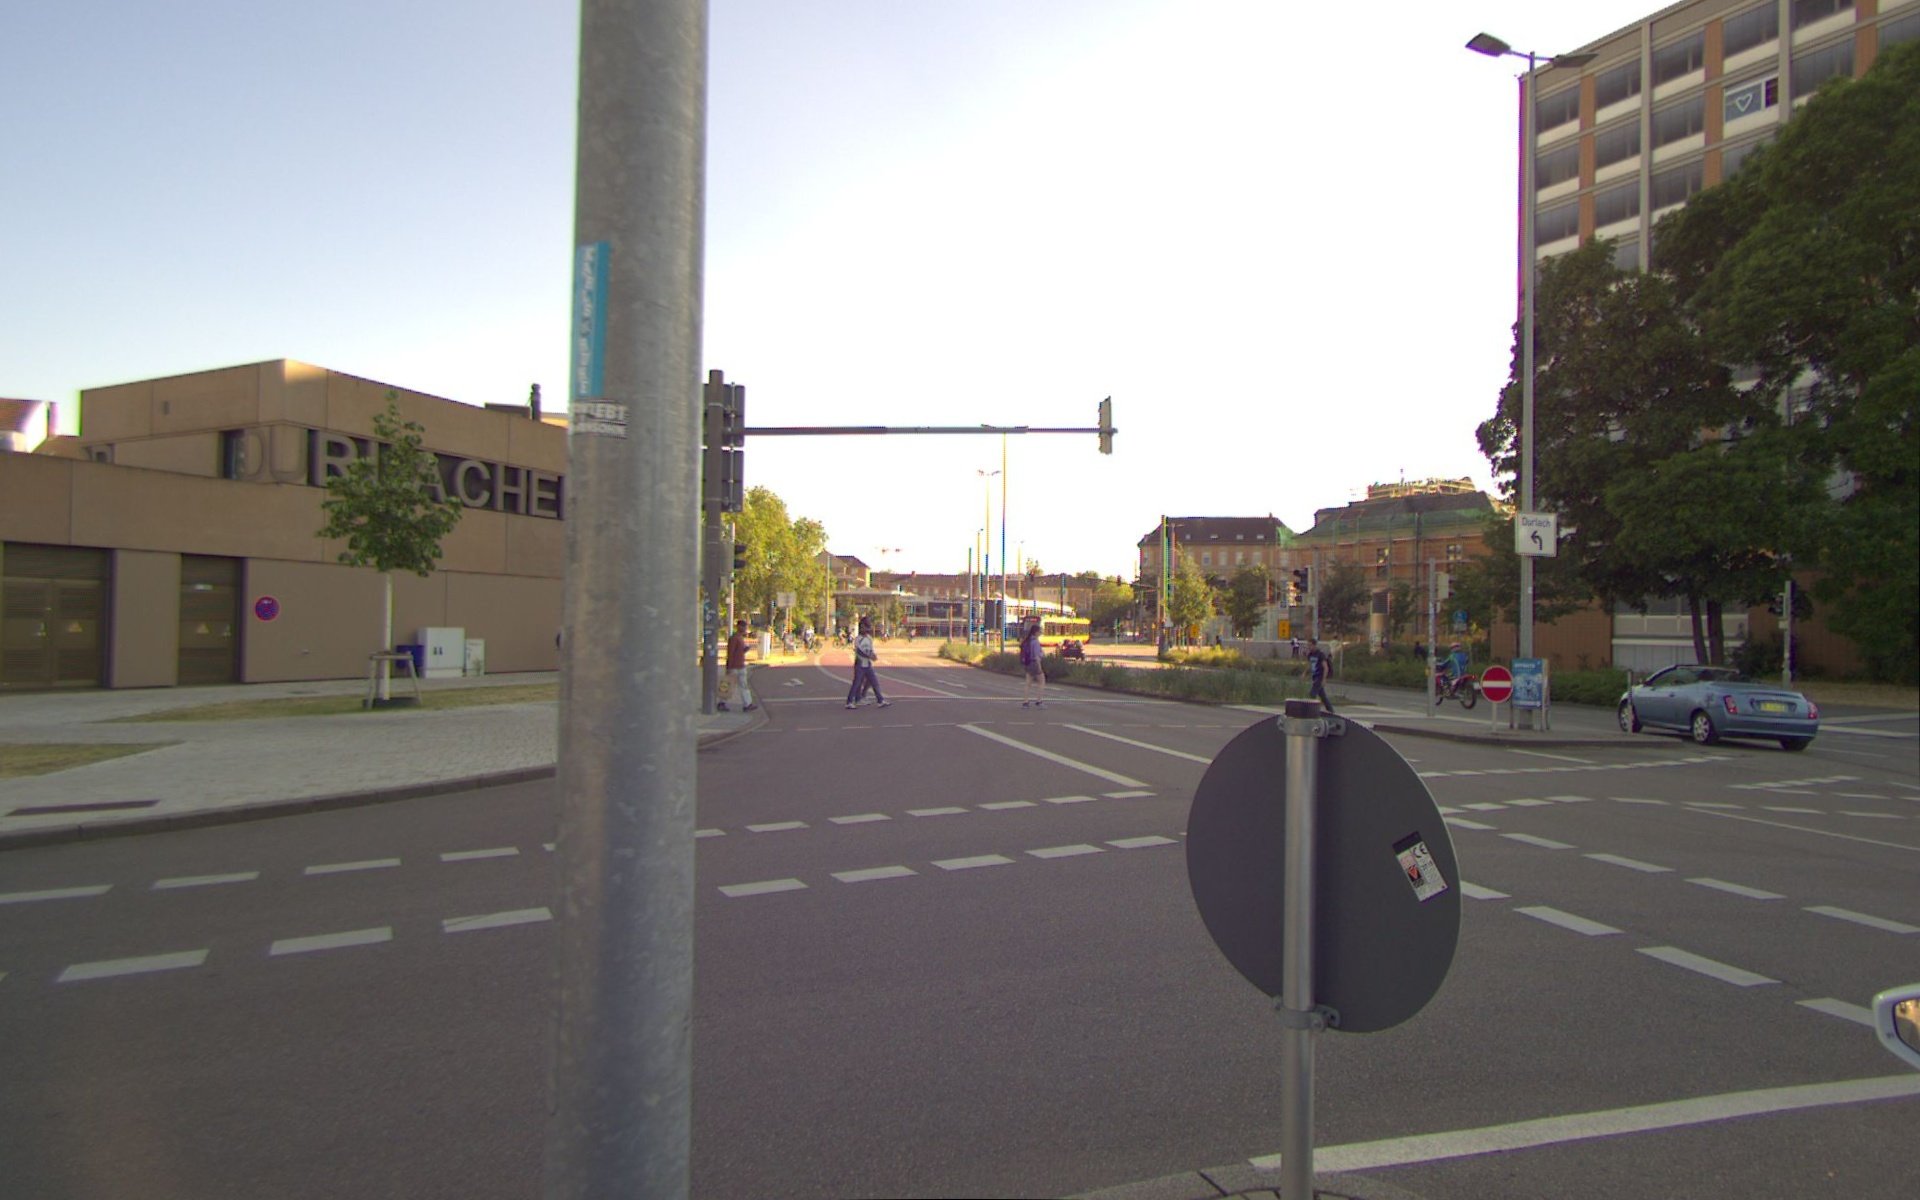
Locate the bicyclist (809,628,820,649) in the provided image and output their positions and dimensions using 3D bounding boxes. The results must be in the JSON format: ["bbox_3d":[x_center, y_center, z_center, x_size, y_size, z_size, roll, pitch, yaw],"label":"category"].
[{"bbox_3d":[-11.949,3.155,82.447,0.641,1.713,0.856,2,0,-20],"label":"bicyclist"}]

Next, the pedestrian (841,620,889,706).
[{"bbox_3d":[-2.020,1.321,21.203,0.911,1.764,0.755,1,-1,-12],"label":"pedestrian"}]

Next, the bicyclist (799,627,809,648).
[{"bbox_3d":[-13.228,3.192,84.993,0.641,1.713,0.856,2,0,-19],"label":"bicyclist"}]

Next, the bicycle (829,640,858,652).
[{"bbox_3d":[-9.795,3.859,84.379,2.266,0.918,0.857,2,0,-17],"label":"bicycle"}]

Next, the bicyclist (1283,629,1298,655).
[{"bbox_3d":[23.128,2.932,70.363,0.773,1.809,0.894,-1,-2,7],"label":"bicyclist"}]

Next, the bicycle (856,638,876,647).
[{"bbox_3d":[-11.174,4.998,119.103,2.263,0.972,0.858,0,1,-12],"label":"bicycle"}]

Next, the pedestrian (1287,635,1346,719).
[{"bbox_3d":[7.411,1.588,20.888,0.884,1.707,0.746,1,-1,-12],"label":"pedestrian"}]

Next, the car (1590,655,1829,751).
[{"bbox_3d":[13.847,1.837,18.882,1.770,1.463,3.981,2,-2,6],"label":"car"}]

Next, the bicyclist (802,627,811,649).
[{"bbox_3d":[-12.575,3.111,82.217,0.576,1.801,0.863,1,-2,-20],"label":"bicyclist"}]

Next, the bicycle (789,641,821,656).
[{"bbox_3d":[-13.122,4.127,85.040,2.463,1.148,0.856,2,0,-19],"label":"bicycle"}]

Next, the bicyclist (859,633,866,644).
[{"bbox_3d":[-11.582,4.546,119.024,0.702,1.158,0.835,1,1,-12],"label":"bicyclist"}]

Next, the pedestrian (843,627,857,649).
[{"bbox_3d":[-8.418,2.895,77.019,0.822,1.693,0.690,2,-2,-40],"label":"pedestrian"}]

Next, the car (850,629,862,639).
[{"bbox_3d":[-17.310,5.645,167.504,1.963,1.555,3.995,2,0,-7],"label":"car"}]

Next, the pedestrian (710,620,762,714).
[{"bbox_3d":[-4.305,1.275,19.353,0.911,1.764,0.786,1,-1,-12],"label":"pedestrian"}]

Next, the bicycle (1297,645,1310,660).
[{"bbox_3d":[24.124,3.666,70.514,0.616,1.052,1.962,-2,-3,24],"label":"bicycle"}]

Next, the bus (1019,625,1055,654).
[{"bbox_3d":[8.746,4.342,113.507,2.314,2.921,9.583,2,0,15],"label":"bus"}]

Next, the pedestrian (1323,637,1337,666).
[{"bbox_3d":[22.735,3.162,61.714,0.711,1.680,0.718,3,-1,18],"label":"pedestrian"}]

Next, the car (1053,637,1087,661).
[{"bbox_3d":[7.381,3.257,67.801,1.771,1.463,3.978,3,-2,-1],"label":"car"}]

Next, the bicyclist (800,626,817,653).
[{"bbox_3d":[-10.626,2.772,70.336,0.735,1.856,1.003,3,-3,-36],"label":"bicyclist"}]

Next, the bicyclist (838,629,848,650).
[{"bbox_3d":[-9.834,3.285,84.361,0.641,1.713,0.857,2,0,-16],"label":"bicyclist"}]

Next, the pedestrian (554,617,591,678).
[{"bbox_3d":[-11.388,1.380,29.520,0.722,1.754,0.664,2,0,23],"label":"pedestrian"}]

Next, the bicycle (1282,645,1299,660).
[{"bbox_3d":[23.148,3.685,70.386,0.776,1.052,1.964,-1,-3,7],"label":"bicycle"}]

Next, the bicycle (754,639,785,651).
[{"bbox_3d":[-15.847,3.769,83.706,2.459,0.886,0.857,2,0,-15],"label":"bicycle"}]

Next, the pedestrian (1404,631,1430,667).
[{"bbox_3d":[21.795,2.344,47.880,0.794,1.680,0.789,3,-1,-11],"label":"pedestrian"}]

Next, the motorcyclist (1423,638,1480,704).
[{"bbox_3d":[13.528,1.946,27.681,1.078,1.743,0.937,2,-2,0],"label":"motorcyclist"}]

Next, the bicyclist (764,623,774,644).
[{"bbox_3d":[-15.926,2.764,83.658,0.735,1.713,0.858,2,0,-14],"label":"bicyclist"}]

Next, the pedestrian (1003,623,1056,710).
[{"bbox_3d":[1.444,1.365,20.851,0.911,1.764,0.755,1,-1,-12],"label":"pedestrian"}]

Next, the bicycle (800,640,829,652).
[{"bbox_3d":[-11.955,3.789,82.459,2.269,0.918,0.856,2,0,-21],"label":"bicycle"}]

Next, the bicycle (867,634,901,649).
[{"bbox_3d":[-9.250,5.056,122.664,3.939,1.712,1.134,2,0,-20],"label":"bicycle"}]

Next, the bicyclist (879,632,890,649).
[{"bbox_3d":[-9.242,4.939,122.651,1.057,1.926,1.118,2,0,-19],"label":"bicyclist"}]

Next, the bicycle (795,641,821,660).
[{"bbox_3d":[-10.676,3.515,70.365,0.735,1.271,2.531,3,-3,-36],"label":"bicycle"}]

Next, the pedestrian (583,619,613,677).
[{"bbox_3d":[-10.977,1.452,30.459,0.626,1.711,0.550,2,0,12],"label":"pedestrian"}]

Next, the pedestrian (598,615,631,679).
[{"bbox_3d":[-10.265,1.388,29.885,0.704,1.860,0.639,2,0,-1],"label":"pedestrian"}]

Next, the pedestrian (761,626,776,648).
[{"bbox_3d":[-14.703,2.836,76.928,1.077,1.628,0.697,2,0,-12],"label":"pedestrian"}]

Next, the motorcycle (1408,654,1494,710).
[{"bbox_3d":[13.521,2.223,27.787,1.078,1.395,2.654,2,-2,0],"label":"motorcycle"}]

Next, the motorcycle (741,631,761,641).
[{"bbox_3d":[-24.421,4.157,117.138,2.253,1.068,0.685,2,0,-14],"label":"motorcycle"}]

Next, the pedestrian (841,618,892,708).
[{"bbox_3d":[-1.883,1.257,20.159,0.911,1.764,0.755,1,-1,-12],"label":"pedestrian"}]
